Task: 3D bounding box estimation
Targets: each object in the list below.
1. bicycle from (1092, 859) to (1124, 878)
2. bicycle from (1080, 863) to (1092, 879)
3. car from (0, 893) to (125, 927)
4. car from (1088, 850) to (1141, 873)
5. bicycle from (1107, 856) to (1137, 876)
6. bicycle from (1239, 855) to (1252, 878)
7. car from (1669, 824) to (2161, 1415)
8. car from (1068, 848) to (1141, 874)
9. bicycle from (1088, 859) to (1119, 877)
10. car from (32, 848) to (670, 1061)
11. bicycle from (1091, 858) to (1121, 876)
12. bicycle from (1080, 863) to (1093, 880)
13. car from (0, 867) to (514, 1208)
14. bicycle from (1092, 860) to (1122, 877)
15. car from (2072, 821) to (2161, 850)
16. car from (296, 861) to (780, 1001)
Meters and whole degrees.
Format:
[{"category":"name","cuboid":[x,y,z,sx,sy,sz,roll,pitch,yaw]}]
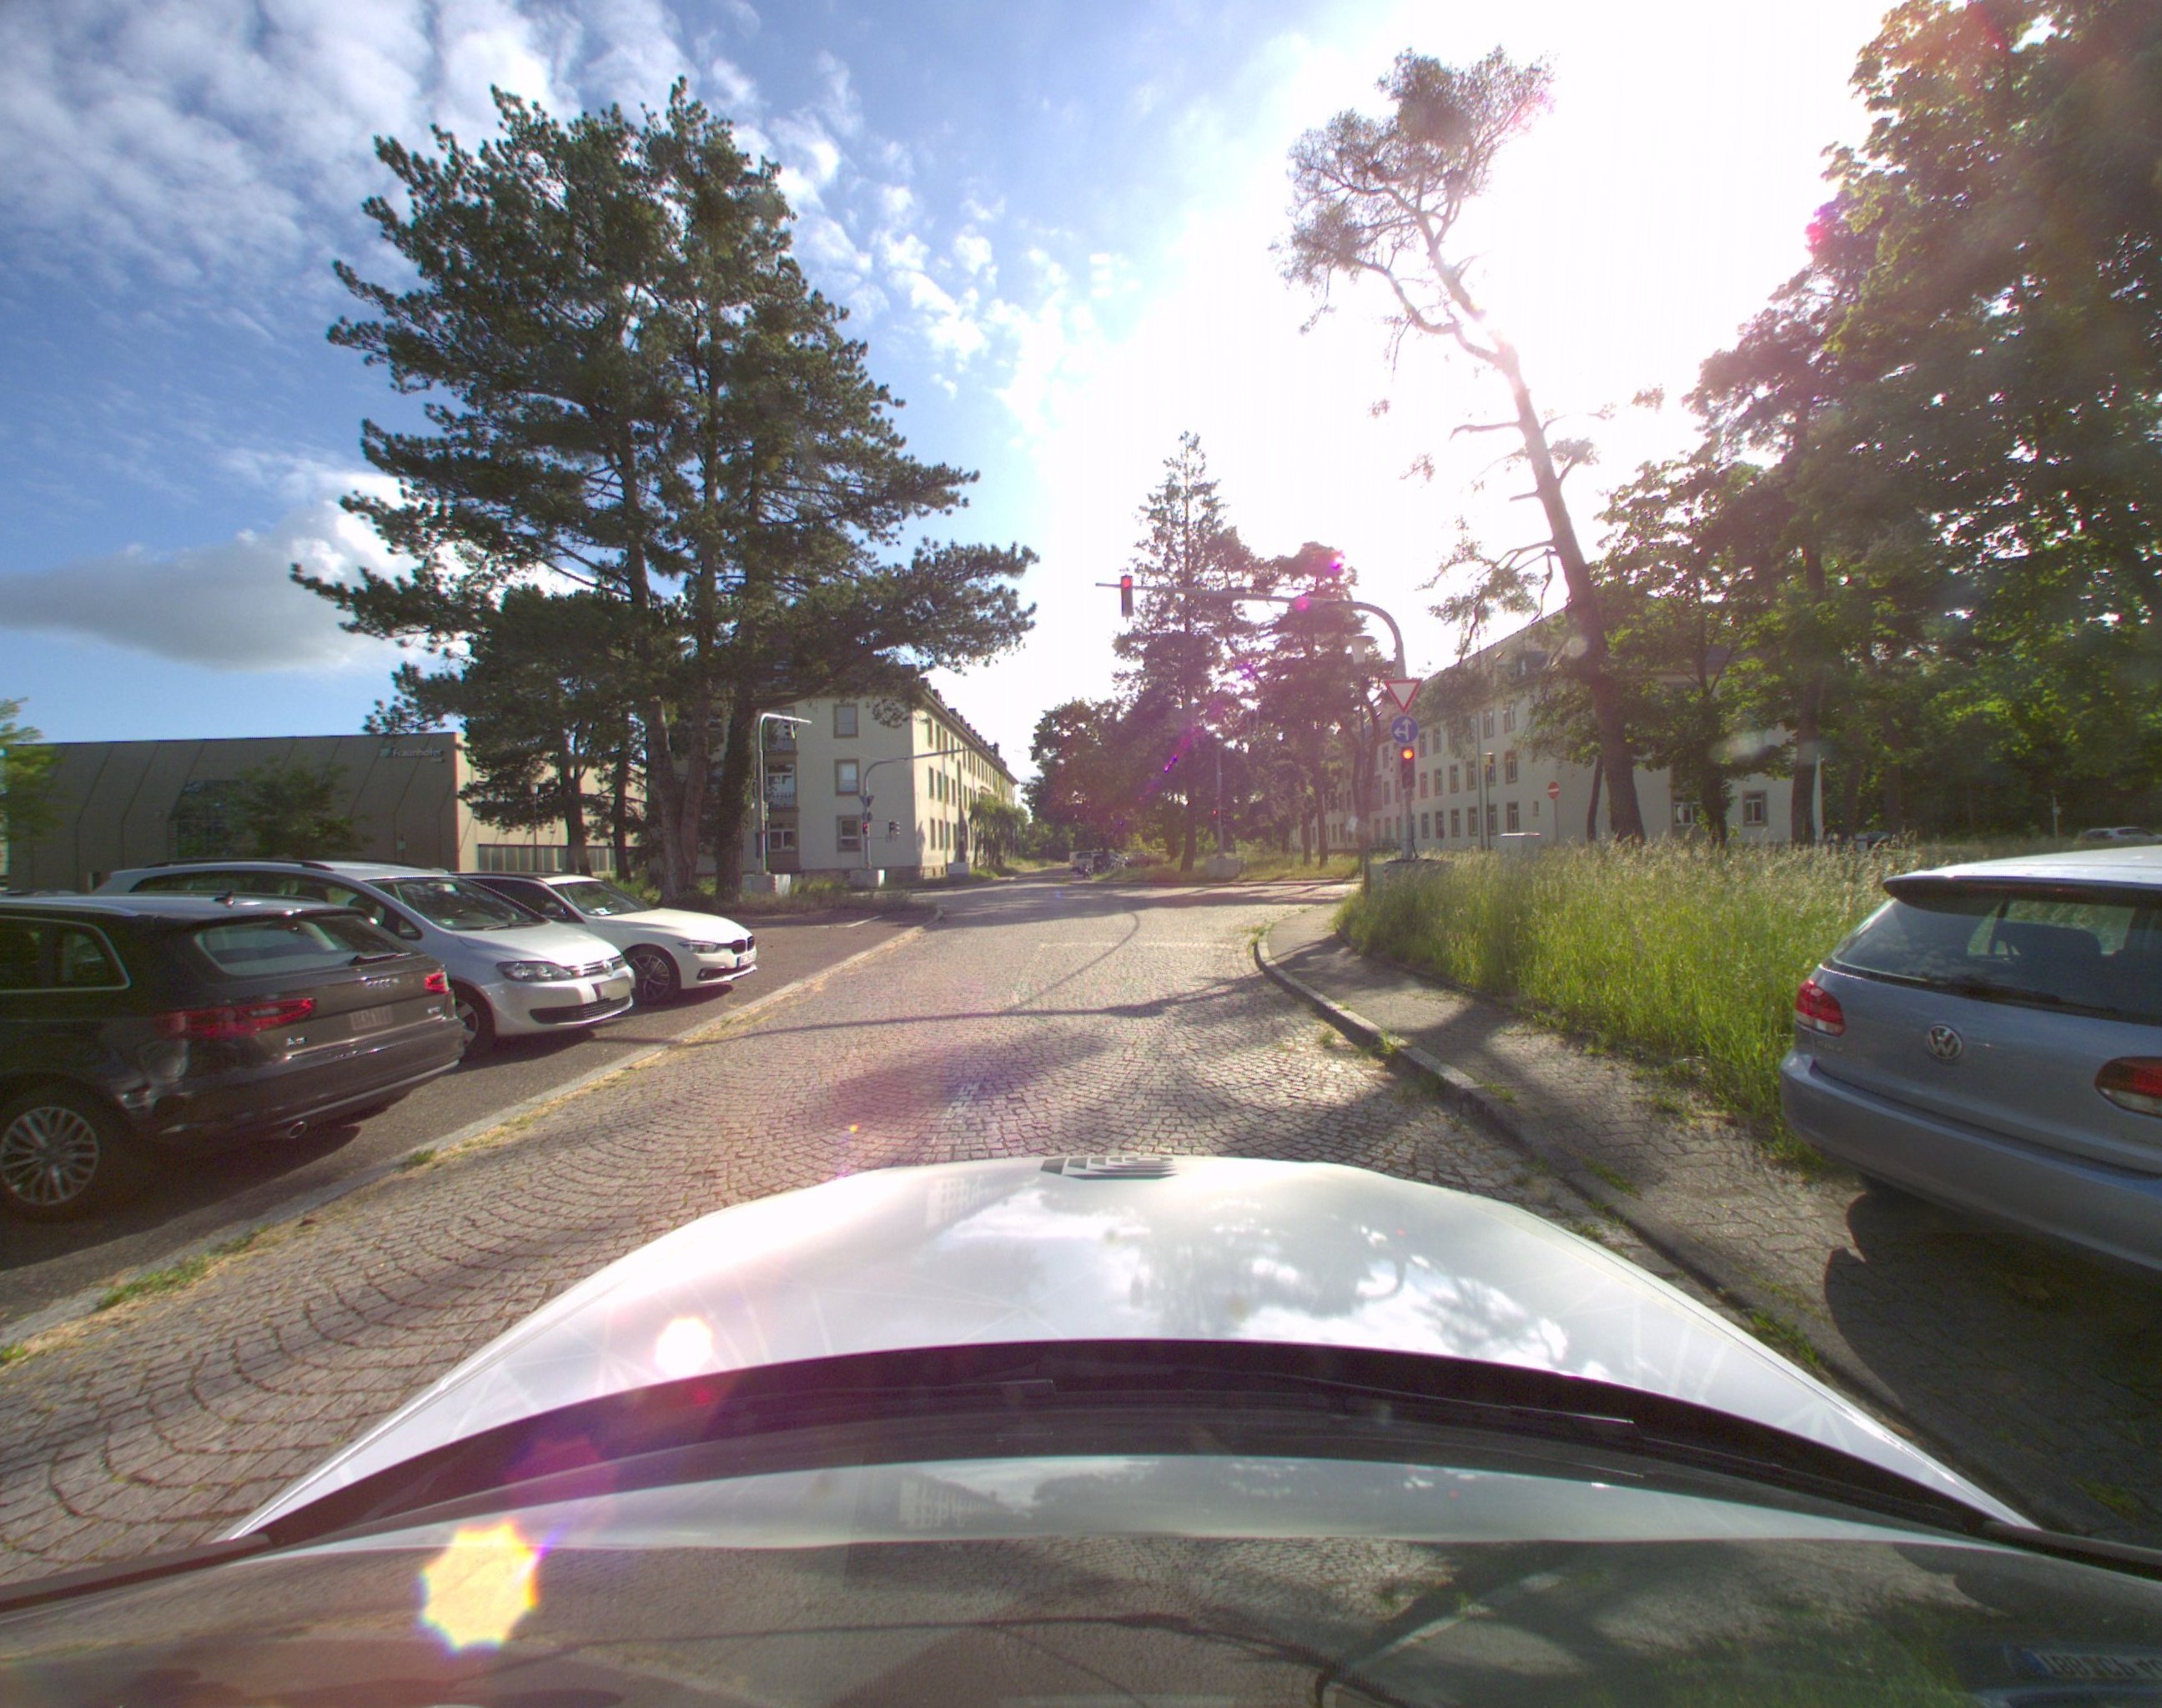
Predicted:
[{"category":"bicycle","cuboid":[1.728,0.936,52.348,1.936,1.129,0.749,-2,0,-3]},{"category":"bicycle","cuboid":[0.297,1.025,50.006,0.693,0.971,1.859,-1,0,-1]},{"category":"car","cuboid":[-47.959,2.588,38.132,1.481,1.294,4.054,-2,0,3]},{"category":"car","cuboid":[2.651,0.573,65.293,3.984,1.684,1.842,-2,0,-8]},{"category":"bicycle","cuboid":[2.669,0.798,53.049,1.936,1.235,0.485,-2,0,-3]},{"category":"bicycle","cuboid":[7.947,0.589,39.402,0.464,1.080,1.175,-2,-1,4]},{"category":"car","cuboid":[4.710,0.600,2.793,4.002,1.460,1.871,-3,0,0]},{"category":"car","cuboid":[1.938,0.559,69.504,5.924,2.013,2.470,-2,0,-7]},{"category":"bicycle","cuboid":[1.476,0.901,53.565,1.951,1.129,0.642,-2,0,-27]},{"category":"car","cuboid":[-6.089,0.800,7.236,3.936,1.626,1.719,1,0,-4]},{"category":"bicycle","cuboid":[1.651,0.855,54.672,1.937,1.129,0.646,-2,0,-5]},{"category":"bicycle","cuboid":[0.340,1.025,48.060,0.693,0.971,1.859,-1,0,-1]},{"category":"car","cuboid":[-5.684,0.849,4.537,3.785,1.471,1.687,1,0,-1]},{"category":"bicycle","cuboid":[1.654,0.893,51.550,1.850,1.031,0.749,-2,0,-3]},{"category":"car","cuboid":[58.006,-1.019,45.162,3.977,1.464,1.845,-2,0,-3]},{"category":"car","cuboid":[-6.217,0.860,9.765,4.529,1.467,1.751,1,0,-2]}]
